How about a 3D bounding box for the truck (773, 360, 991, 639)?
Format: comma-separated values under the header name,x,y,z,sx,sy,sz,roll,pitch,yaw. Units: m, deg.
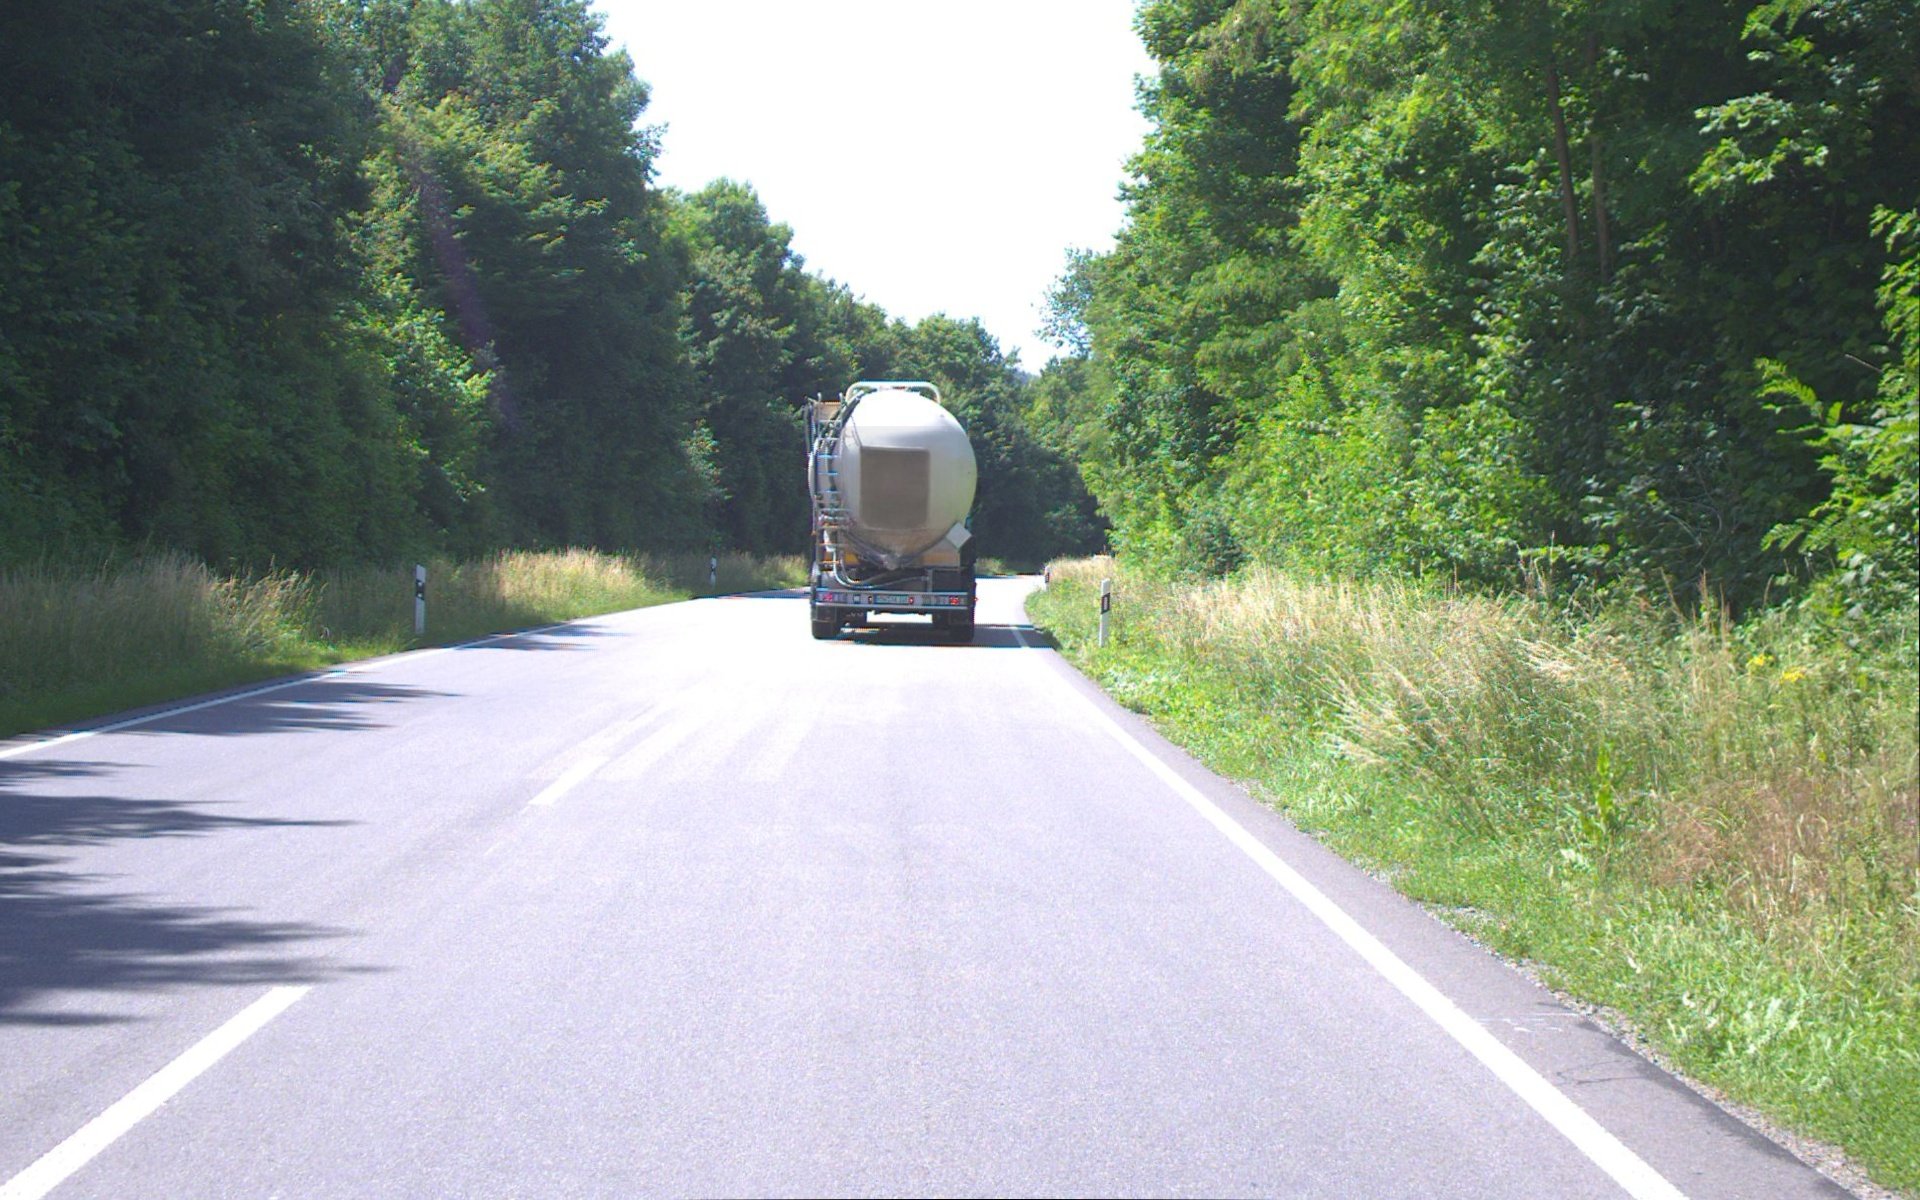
name,x,y,z,sx,sy,sz,roll,pitch,yaw
truck,-1.321,-1.600,58.278,3.049,3.984,15.638,2,1,-1
